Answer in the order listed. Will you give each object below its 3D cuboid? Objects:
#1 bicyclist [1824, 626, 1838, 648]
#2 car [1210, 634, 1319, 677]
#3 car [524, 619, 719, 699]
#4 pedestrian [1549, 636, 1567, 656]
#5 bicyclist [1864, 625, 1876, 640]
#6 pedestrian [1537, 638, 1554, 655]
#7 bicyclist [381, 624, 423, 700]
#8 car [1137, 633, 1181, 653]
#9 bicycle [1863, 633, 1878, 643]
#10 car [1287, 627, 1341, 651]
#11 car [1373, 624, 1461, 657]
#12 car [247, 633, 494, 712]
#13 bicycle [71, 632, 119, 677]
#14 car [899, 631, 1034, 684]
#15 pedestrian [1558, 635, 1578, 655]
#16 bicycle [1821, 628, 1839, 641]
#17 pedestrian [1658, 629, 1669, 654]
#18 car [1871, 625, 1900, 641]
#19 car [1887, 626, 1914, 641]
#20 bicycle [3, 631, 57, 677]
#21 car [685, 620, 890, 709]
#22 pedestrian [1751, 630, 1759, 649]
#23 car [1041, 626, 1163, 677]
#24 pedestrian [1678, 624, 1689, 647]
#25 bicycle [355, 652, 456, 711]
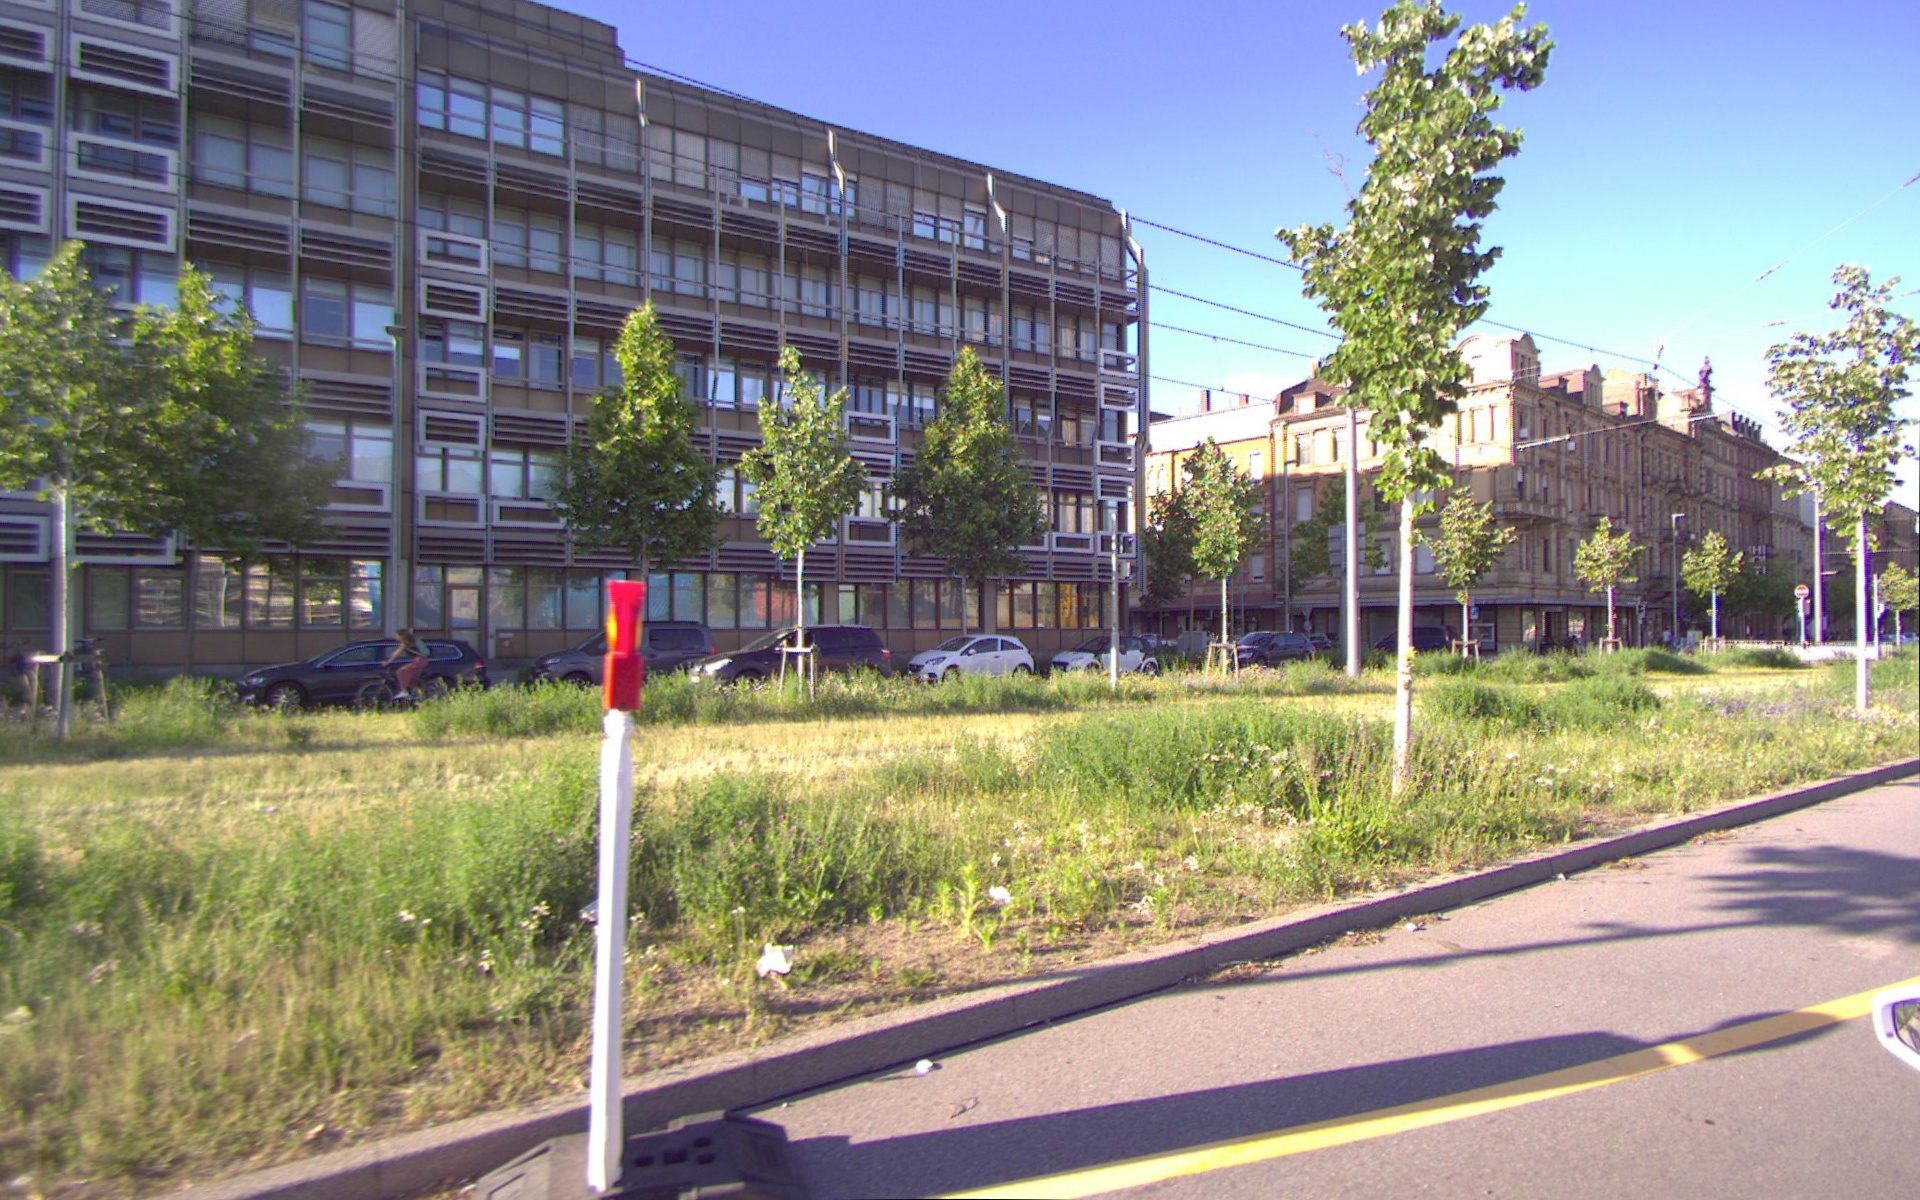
[{"bbox_3d":[66.317,2.811,76.465,0.874,1.679,0.690,1,-2,-38],"label":"bicyclist"},{"bbox_3d":[11.546,2.066,38.074,3.851,1.481,1.723,1,1,-28],"label":"car"},{"bbox_3d":[-8.270,1.377,24.652,4.282,1.795,1.741,1,0,-32],"label":"car"},{"bbox_3d":[37.441,2.865,62.934,0.921,1.263,0.685,1,-2,-38],"label":"pedestrian"},{"bbox_3d":[77.056,2.756,85.043,0.732,1.256,0.632,1,-2,-38],"label":"bicyclist"},{"bbox_3d":[37.318,2.969,64.013,0.729,1.073,0.685,1,-2,-38],"label":"pedestrian"},{"bbox_3d":[-11.208,1.234,20.175,0.698,1.476,0.562,1,-2,-33],"label":"bicyclist"},{"bbox_3d":[14.889,3.202,75.204,1.475,1.427,3.024,1,-2,-43],"label":"car"},{"bbox_3d":[77.148,3.239,85.112,2.013,0.869,0.632,2,-2,-39],"label":"bicycle"},{"bbox_3d":[23.235,2.553,65.960,1.374,1.487,3.115,1,-2,-43],"label":"car"},{"bbox_3d":[27.711,2.446,61.011,1.885,1.928,4.467,1,-2,-43],"label":"car"},{"bbox_3d":[-12.694,1.493,21.834,4.456,1.488,1.719,1,0,-33],"label":"car"},{"bbox_3d":[-21.659,1.346,25.176,0.419,1.086,1.923,1,-2,-26],"label":"bicycle"},{"bbox_3d":[0.217,1.692,30.204,3.776,1.460,1.616,1,-1,-32],"label":"car"},{"bbox_3d":[38.774,2.861,64.045,0.921,1.224,0.785,2,-2,-38],"label":"pedestrian"},{"bbox_3d":[65.984,2.618,76.170,1.811,0.991,0.689,2,-2,-39],"label":"bicycle"},{"bbox_3d":[50.318,2.949,71.826,0.403,1.788,0.504,1,0,-39],"label":"pedestrian"},{"bbox_3d":[93.771,3.368,101.703,4.675,1.583,1.554,1,-2,-40],"label":"car"},{"bbox_3d":[100.269,3.587,107.119,4.676,1.583,1.553,1,-2,-40],"label":"car"},{"bbox_3d":[-22.681,1.313,24.530,0.419,1.086,1.869,1,-2,-26],"label":"bicycle"},{"bbox_3d":[-3.701,1.325,21.806,4.078,1.770,1.718,1,-1,-34],"label":"car"},{"bbox_3d":[69.348,3.435,87.602,0.422,1.606,0.400,1,0,-39],"label":"pedestrian"},{"bbox_3d":[4.767,1.681,33.501,3.921,1.574,1.641,1,-1,-32],"label":"car"},{"bbox_3d":[50.932,2.521,70.681,0.529,1.606,0.483,1,0,-39],"label":"pedestrian"},{"bbox_3d":[-11.142,1.609,20.200,1.752,1.110,0.562,1,-2,-33],"label":"bicycle"}]
